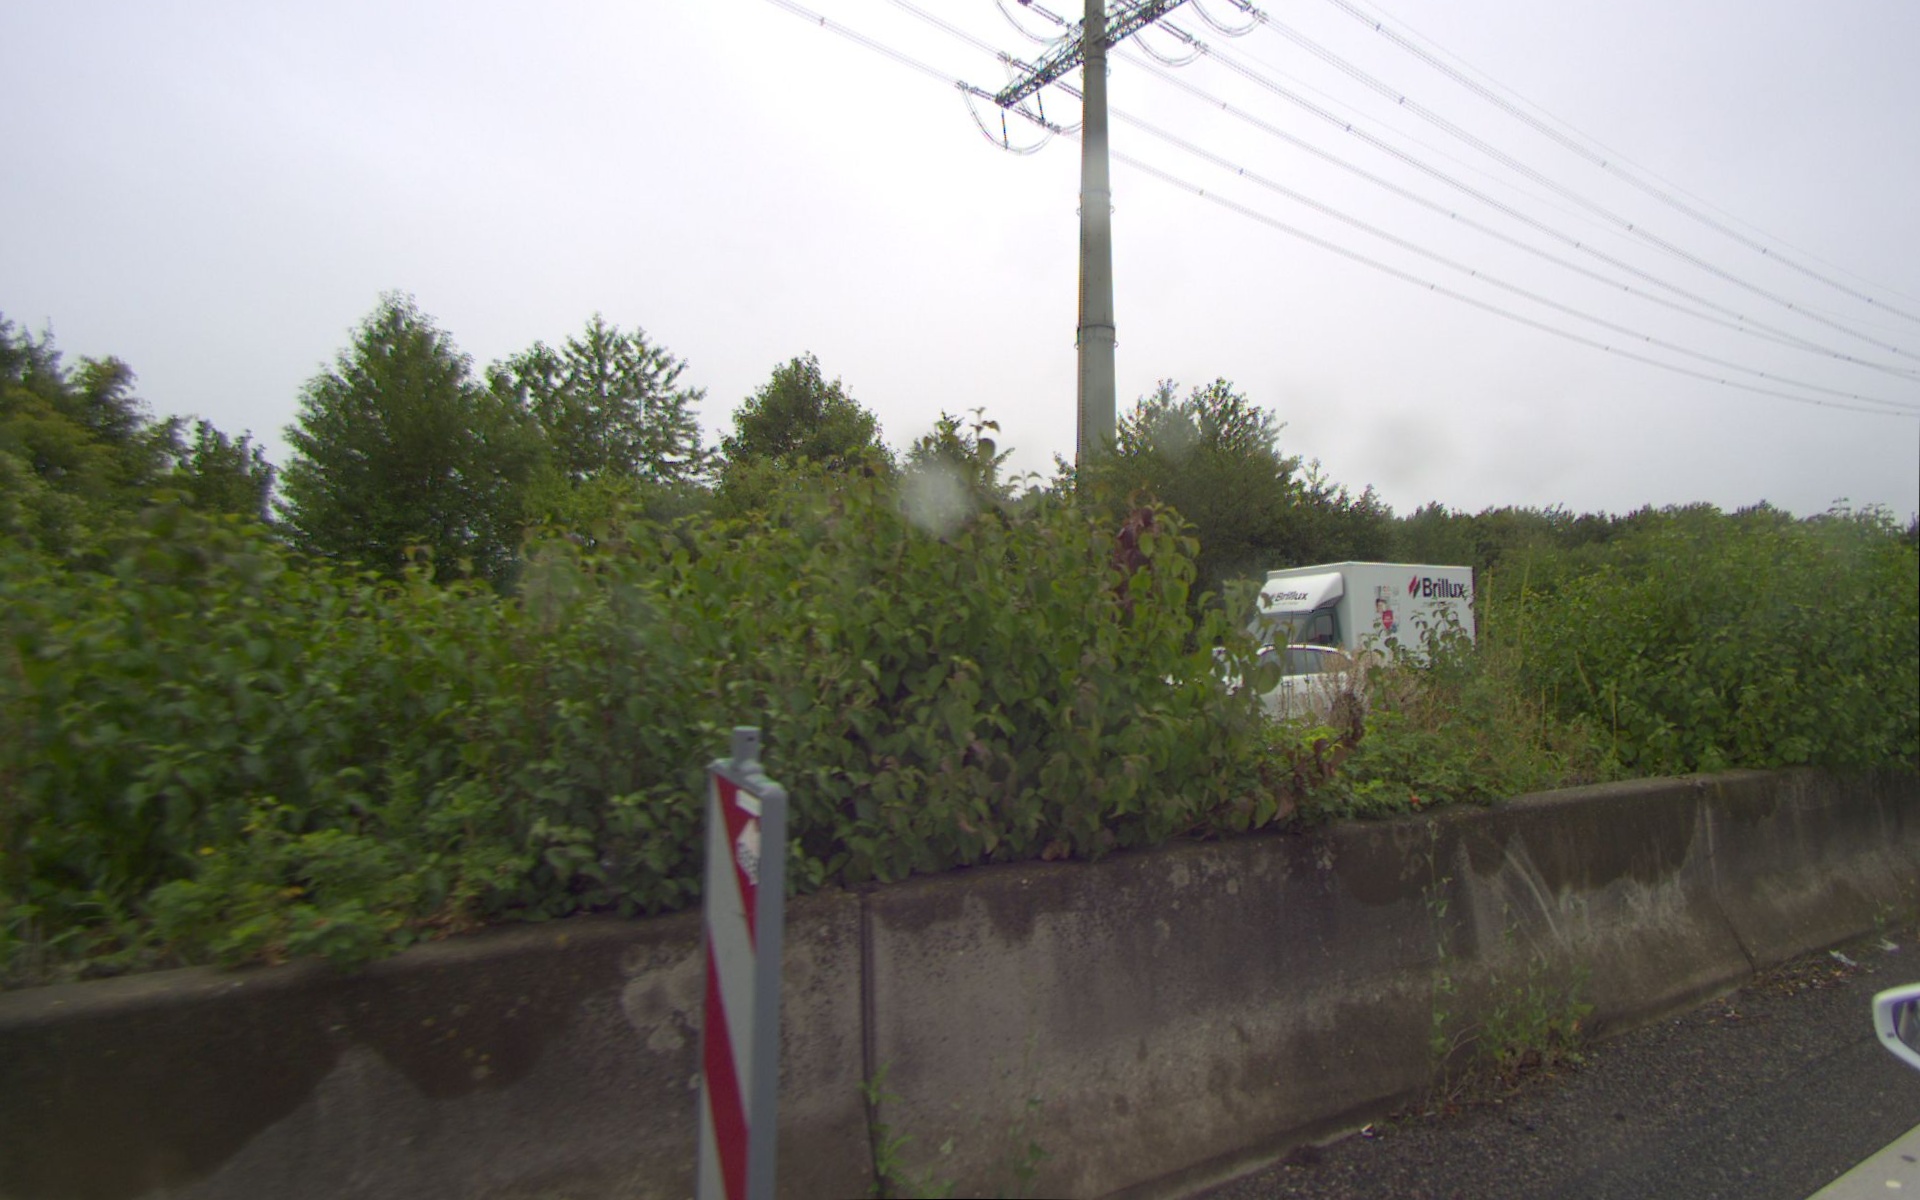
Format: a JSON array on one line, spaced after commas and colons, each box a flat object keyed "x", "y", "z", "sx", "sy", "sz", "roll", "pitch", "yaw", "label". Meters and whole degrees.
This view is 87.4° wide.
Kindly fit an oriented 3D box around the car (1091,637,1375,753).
[{"x": 4.150, "y": 1.351, "z": 15.095, "sx": 4.111, "sy": 1.475, "sz": 1.709, "roll": 2, "pitch": 0, "yaw": -30, "label": "car"}]

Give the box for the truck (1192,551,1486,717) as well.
[{"x": 8.620, "y": 0.830, "z": 22.583, "sx": 6.969, "sy": 3.269, "sz": 2.251, "roll": 2, "pitch": -4, "yaw": -30, "label": "truck"}]
